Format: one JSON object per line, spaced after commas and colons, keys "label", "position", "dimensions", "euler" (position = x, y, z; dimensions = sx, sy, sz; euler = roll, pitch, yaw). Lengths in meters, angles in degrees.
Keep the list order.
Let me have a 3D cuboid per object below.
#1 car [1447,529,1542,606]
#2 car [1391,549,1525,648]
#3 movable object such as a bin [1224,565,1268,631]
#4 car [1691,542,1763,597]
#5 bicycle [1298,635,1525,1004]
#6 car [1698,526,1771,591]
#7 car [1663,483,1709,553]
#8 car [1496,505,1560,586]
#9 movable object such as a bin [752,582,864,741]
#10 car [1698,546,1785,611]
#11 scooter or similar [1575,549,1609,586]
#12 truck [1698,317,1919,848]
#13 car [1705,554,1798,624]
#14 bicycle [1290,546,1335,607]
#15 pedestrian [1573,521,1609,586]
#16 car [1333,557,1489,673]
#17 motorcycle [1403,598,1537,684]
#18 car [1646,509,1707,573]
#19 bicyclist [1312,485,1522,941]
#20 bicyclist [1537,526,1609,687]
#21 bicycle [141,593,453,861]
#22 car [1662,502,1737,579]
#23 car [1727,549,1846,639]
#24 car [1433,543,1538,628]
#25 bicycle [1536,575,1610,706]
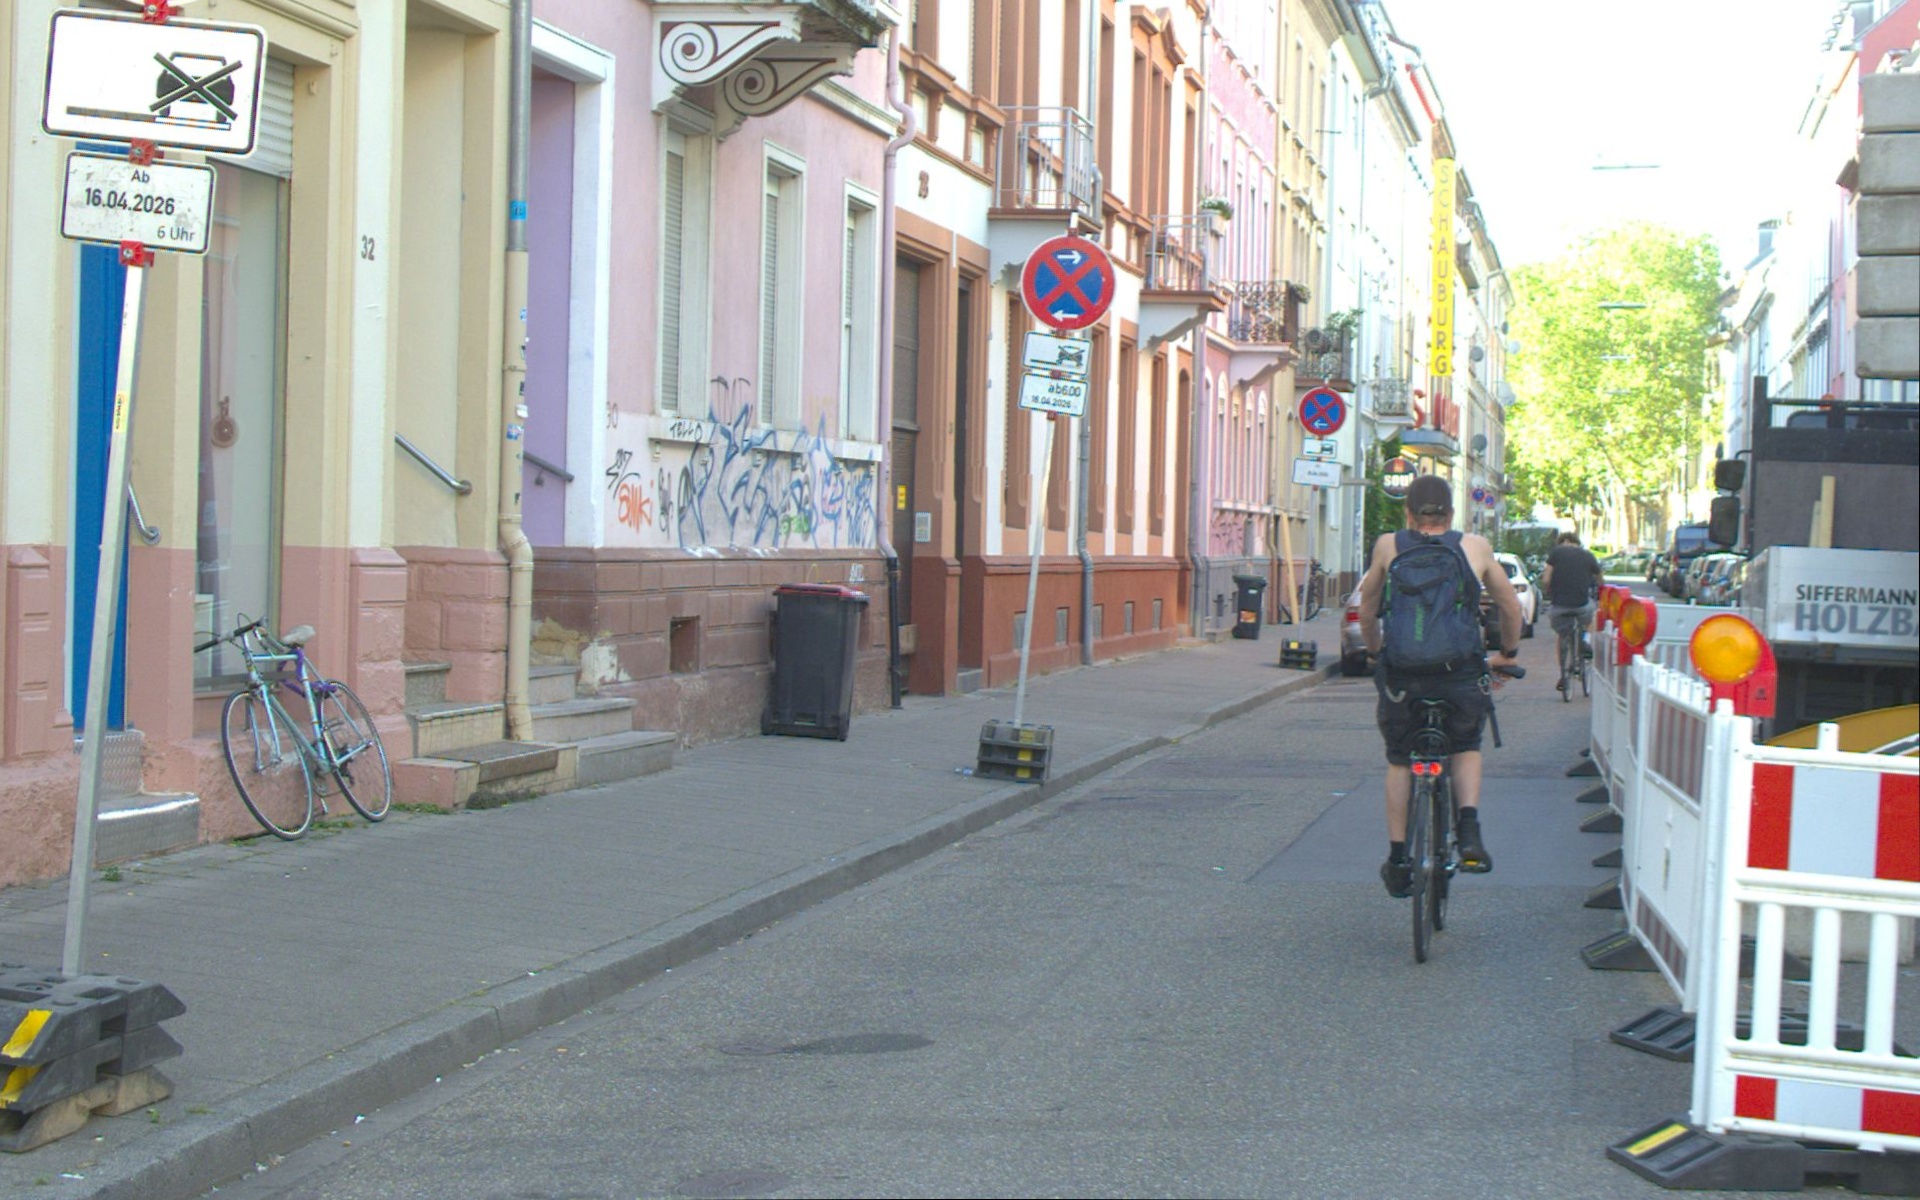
{"label": "car", "position": [10.424, -0.640, 66.887], "dimensions": [1.673, 1.437, 3.766], "euler": [-1, 1, 11]}
{"label": "car", "position": [7.950, -0.057, 54.625], "dimensions": [1.711, 1.378, 4.353], "euler": [1, 3, 13]}
{"label": "movable object such as a bin", "position": [4.190, -0.032, 50.287], "dimensions": [0.544, 0.941, 0.487], "euler": [3, 1, 12]}
{"label": "car", "position": [20.291, -0.815, 91.089], "dimensions": [1.711, 1.389, 3.998], "euler": [-1, 1, 11]}
{"label": "bicycle", "position": [1.752, 0.770, 13.072], "dimensions": [0.702, 1.204, 2.341], "euler": [1, 1, 11]}
{"label": "car", "position": [19.324, -1.045, 85.908], "dimensions": [1.621, 1.545, 3.998], "euler": [-1, 1, 11]}
{"label": "car", "position": [39.895, -4.488, 189.101], "dimensions": [2.309, 3.755, 6.767], "euler": [-1, 1, 11]}
{"label": "car", "position": [17.765, -1.734, 107.706], "dimensions": [1.910, 2.488, 4.164], "euler": [0, 1, 9]}
{"label": "movable object such as a bin", "position": [-1.027, 0.407, 23.341], "dimensions": [0.606, 1.031, 0.596], "euler": [3, 1, 10]}
{"label": "car", "position": [17.359, -0.493, 76.474], "dimensions": [1.711, 1.378, 3.998], "euler": [-1, 1, 11]}
{"label": "scooter or similar", "position": [15.736, -0.817, 85.636], "dimensions": [0.771, 0.869, 0.770], "euler": [3, 1, 8]}
{"label": "truck", "position": [6.189, -0.118, 21.893], "dimensions": [2.663, 2.804, 7.390], "euler": [3, 1, 11]}
{"label": "car", "position": [16.349, -0.249, 71.121], "dimensions": [1.711, 1.378, 3.998], "euler": [-1, 1, 11]}
{"label": "bicycle", "position": [6.501, -0.436, 63.414], "dimensions": [0.593, 1.085, 2.078], "euler": [3, 1, 11]}
{"label": "pedestrian", "position": [15.812, -1.168, 86.144], "dimensions": [0.771, 1.573, 0.900], "euler": [3, 1, 8]}
{"label": "car", "position": [5.834, 0.159, 44.126], "dimensions": [1.711, 1.378, 4.504], "euler": [-1, 1, 11]}
{"label": "motorcycle", "position": [8.656, 0.690, 58.377], "dimensions": [2.146, 1.354, 0.540], "euler": [-2, 2, -7]}
{"label": "car", "position": [29.749, -2.443, 142.856], "dimensions": [2.309, 2.529, 6.767], "euler": [-1, 1, 11]}
{"label": "bicyclist", "position": [1.726, 0.392, 12.891], "dimensions": [0.702, 1.627, 1.089], "euler": [1, 1, 11]}
{"label": "bicyclist", "position": [6.226, 0.059, 34.892], "dimensions": [0.702, 1.599, 0.812], "euler": [0, 2, 10]}
{"label": "bicycle", "position": [-2.834, 0.513, 14.890], "dimensions": [0.622, 1.019, 1.817], "euler": [5, 2, 11]}
{"label": "car", "position": [25.292, -2.026, 117.818], "dimensions": [2.309, 2.529, 6.767], "euler": [-1, 1, 11]}
{"label": "car", "position": [14.518, -0.127, 60.527], "dimensions": [1.817, 1.516, 3.998], "euler": [-1, 1, 11]}
{"label": "car", "position": [9.368, -0.275, 61.112], "dimensions": [1.673, 1.437, 4.163], "euler": [-1, 1, 11]}
{"label": "bicycle", "position": [6.227, 0.389, 34.891], "dimensions": [0.702, 1.203, 2.341], "euler": [0, 2, 10]}
